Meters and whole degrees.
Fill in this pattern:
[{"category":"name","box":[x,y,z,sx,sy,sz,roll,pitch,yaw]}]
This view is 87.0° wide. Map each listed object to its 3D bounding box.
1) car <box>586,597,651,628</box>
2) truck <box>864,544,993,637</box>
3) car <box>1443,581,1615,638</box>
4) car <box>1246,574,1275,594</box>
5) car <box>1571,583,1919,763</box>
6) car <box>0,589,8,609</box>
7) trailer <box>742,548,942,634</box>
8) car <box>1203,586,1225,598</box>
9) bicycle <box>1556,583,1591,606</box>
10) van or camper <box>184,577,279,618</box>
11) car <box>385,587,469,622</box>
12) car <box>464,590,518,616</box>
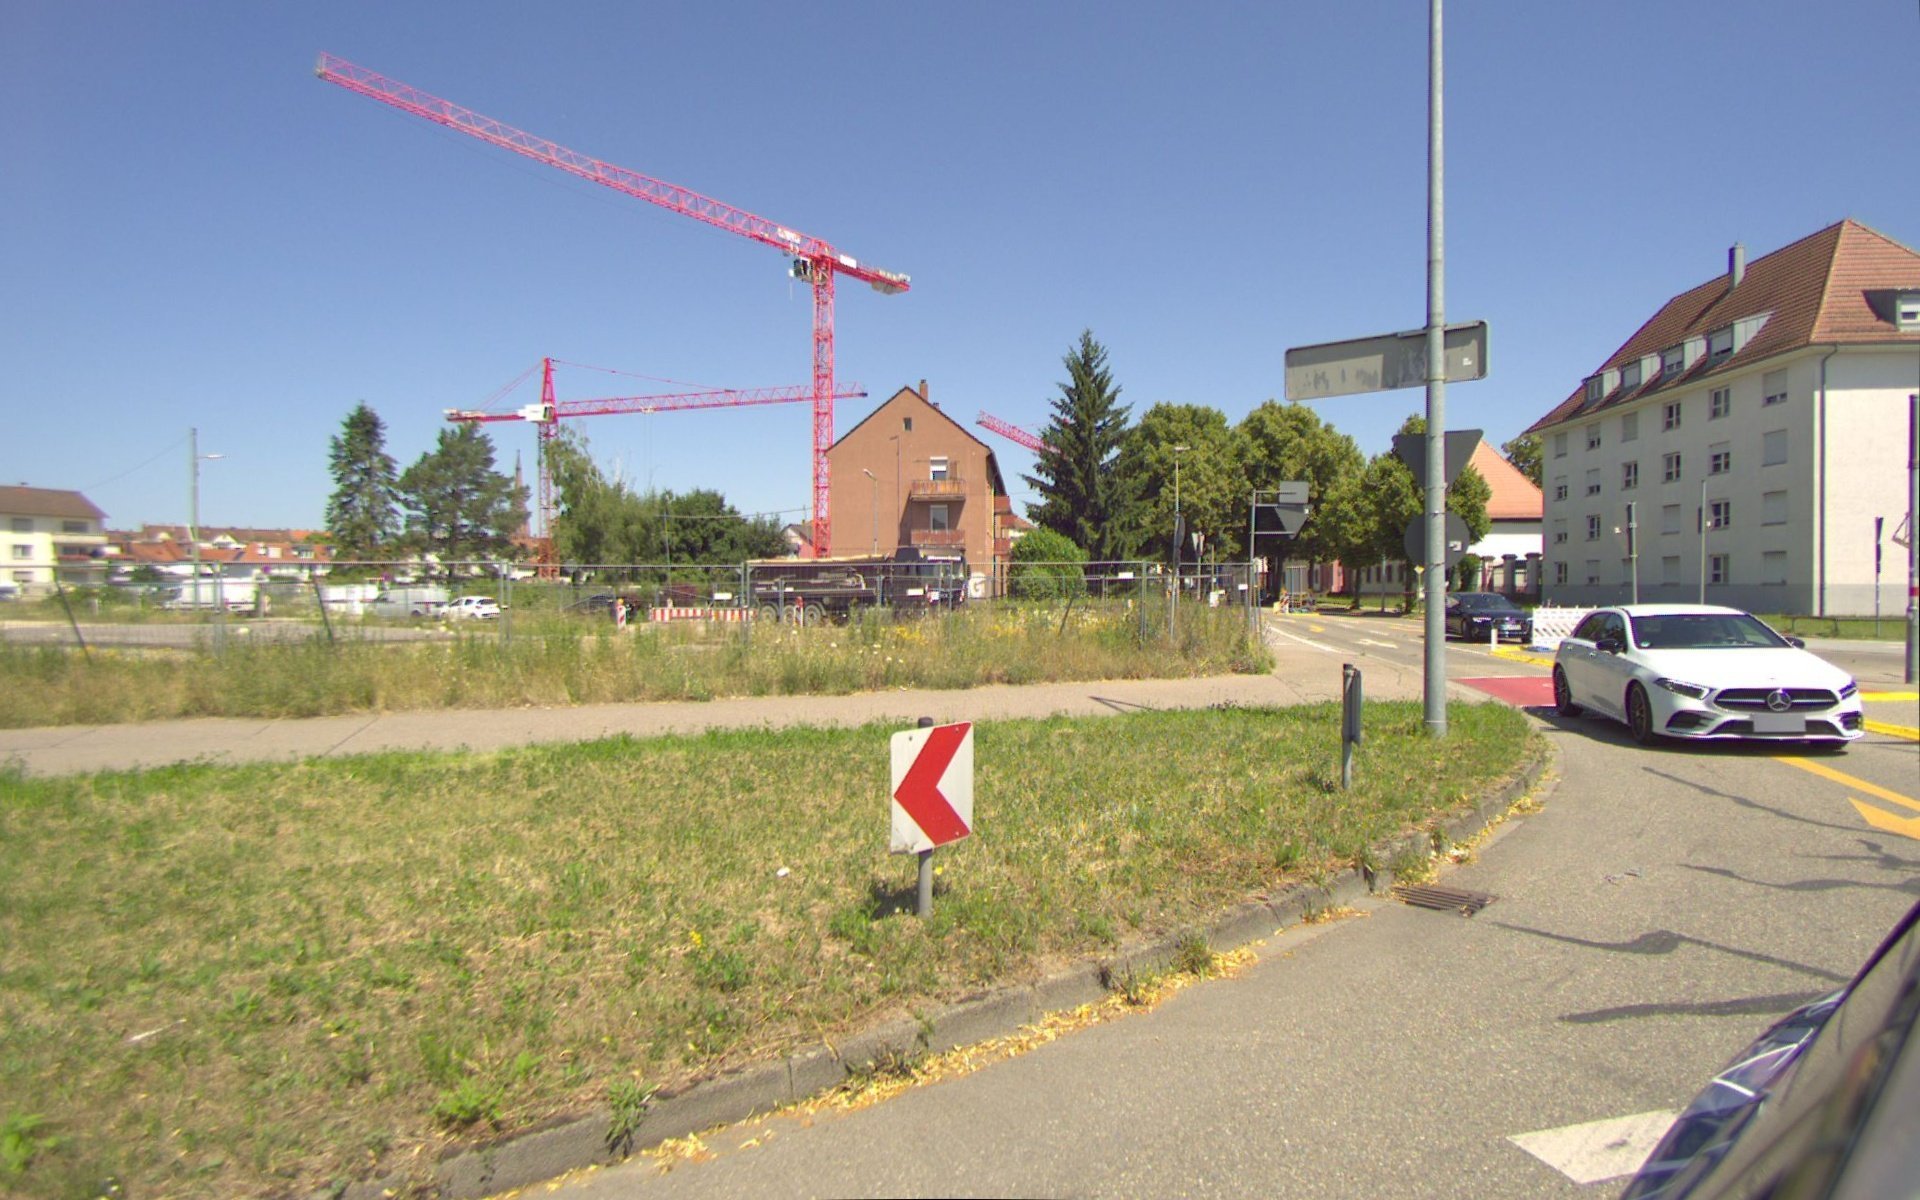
[{"category":"car","box":[-18.627,0.656,55.242,3.382,1.634,1.358,-1,0,25]},{"category":"truck","box":[-1.362,-0.399,41.917,3.105,3.577,4.963,-1,0,-36]},{"category":"car","box":[16.768,0.247,30.131,1.764,1.469,4.626,-3,1,-12]},{"category":"car","box":[27.382,-1.487,92.283,1.659,1.791,4.200,0,1,5]},{"category":"car","box":[8.190,0.620,10.960,1.757,1.565,3.941,-1,0,17]},{"category":"car","box":[-78.043,-0.020,80.758,3.581,1.606,1.668,-2,1,23]},{"category":"trailer","box":[-5.430,-0.371,45.774,8.917,3.577,3.131,-1,0,31]},{"category":"car","box":[29.250,-0.933,116.680,1.613,1.399,3.887,-1,0,3]},{"category":"bicycle","box":[28.746,-0.267,47.437,0.699,1.037,1.979,-3,0,12]},{"category":"van or camper","box":[-49.206,-0.161,68.287,6.923,2.635,1.915,-1,0,23]},{"category":"car","box":[-32.284,0.291,61.277,4.618,2.039,1.775,-1,0,17]},{"category":"car","box":[-27.408,0.146,59.196,2.760,1.423,1.407,0,2,25]}]
